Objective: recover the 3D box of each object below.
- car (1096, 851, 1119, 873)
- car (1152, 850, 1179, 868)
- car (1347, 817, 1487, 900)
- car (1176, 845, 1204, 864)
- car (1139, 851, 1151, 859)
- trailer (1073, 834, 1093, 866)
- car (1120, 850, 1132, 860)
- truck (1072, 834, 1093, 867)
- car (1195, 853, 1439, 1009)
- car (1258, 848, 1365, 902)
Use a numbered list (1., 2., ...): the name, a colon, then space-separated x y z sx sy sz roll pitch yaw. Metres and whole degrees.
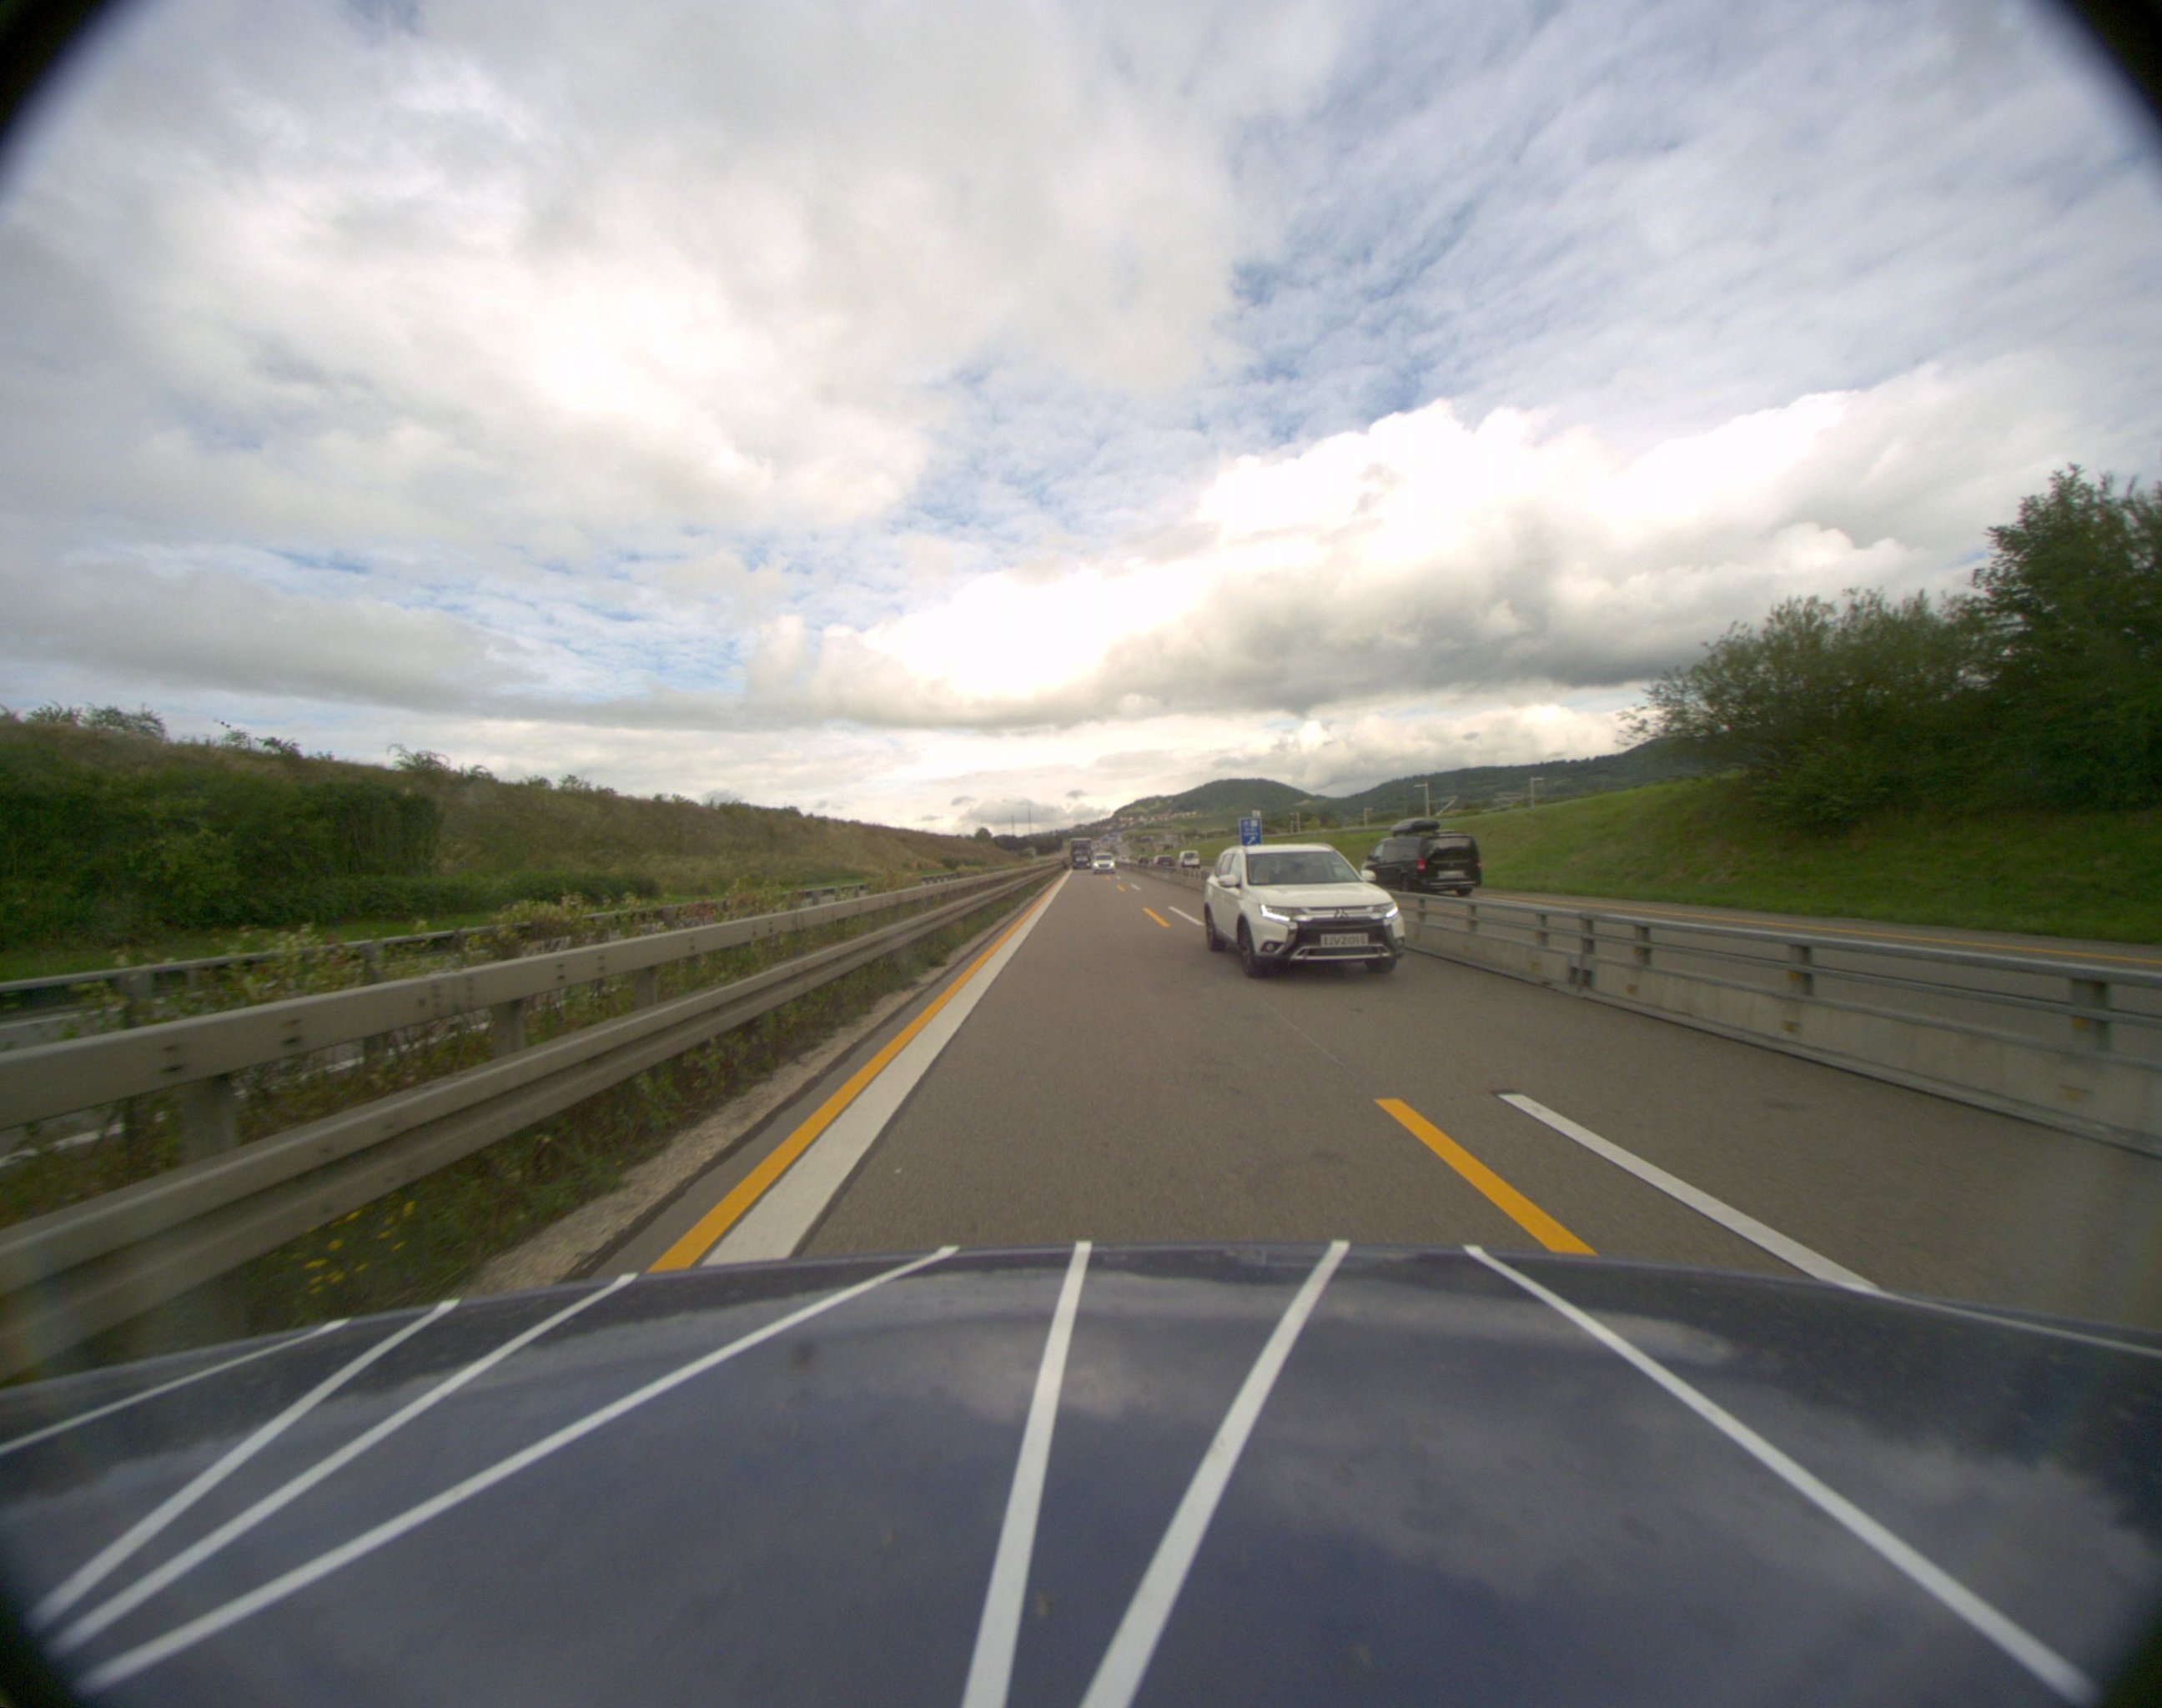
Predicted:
1. car: 2.384 0.698 69.541 1.991 1.787 4.585 -2 0 0
2. car: 7.574 0.441 68.278 1.941 1.460 4.589 -2 0 1
3. car: 10.236 0.125 23.673 1.999 2.239 5.049 -2 0 -1
4. car: 10.803 0.029 75.845 1.999 1.781 4.933 -2 0 0
5. car: 10.767 0.152 128.873 1.761 1.380 4.000 -2 0 1
6. trailer: 0.323 -0.544 105.522 2.521 4.081 11.112 -2 0 1
7. car: 7.316 0.137 123.297 1.761 1.380 4.326 -3 0 1
8. truck: 0.242 -0.496 100.139 2.521 4.081 5.685 -2 1 1
9. car: 2.883 0.825 10.492 1.998 1.618 4.607 -2 0 1
10. car: 7.240 0.599 24.421 1.998 1.512 4.669 -2 0 0
